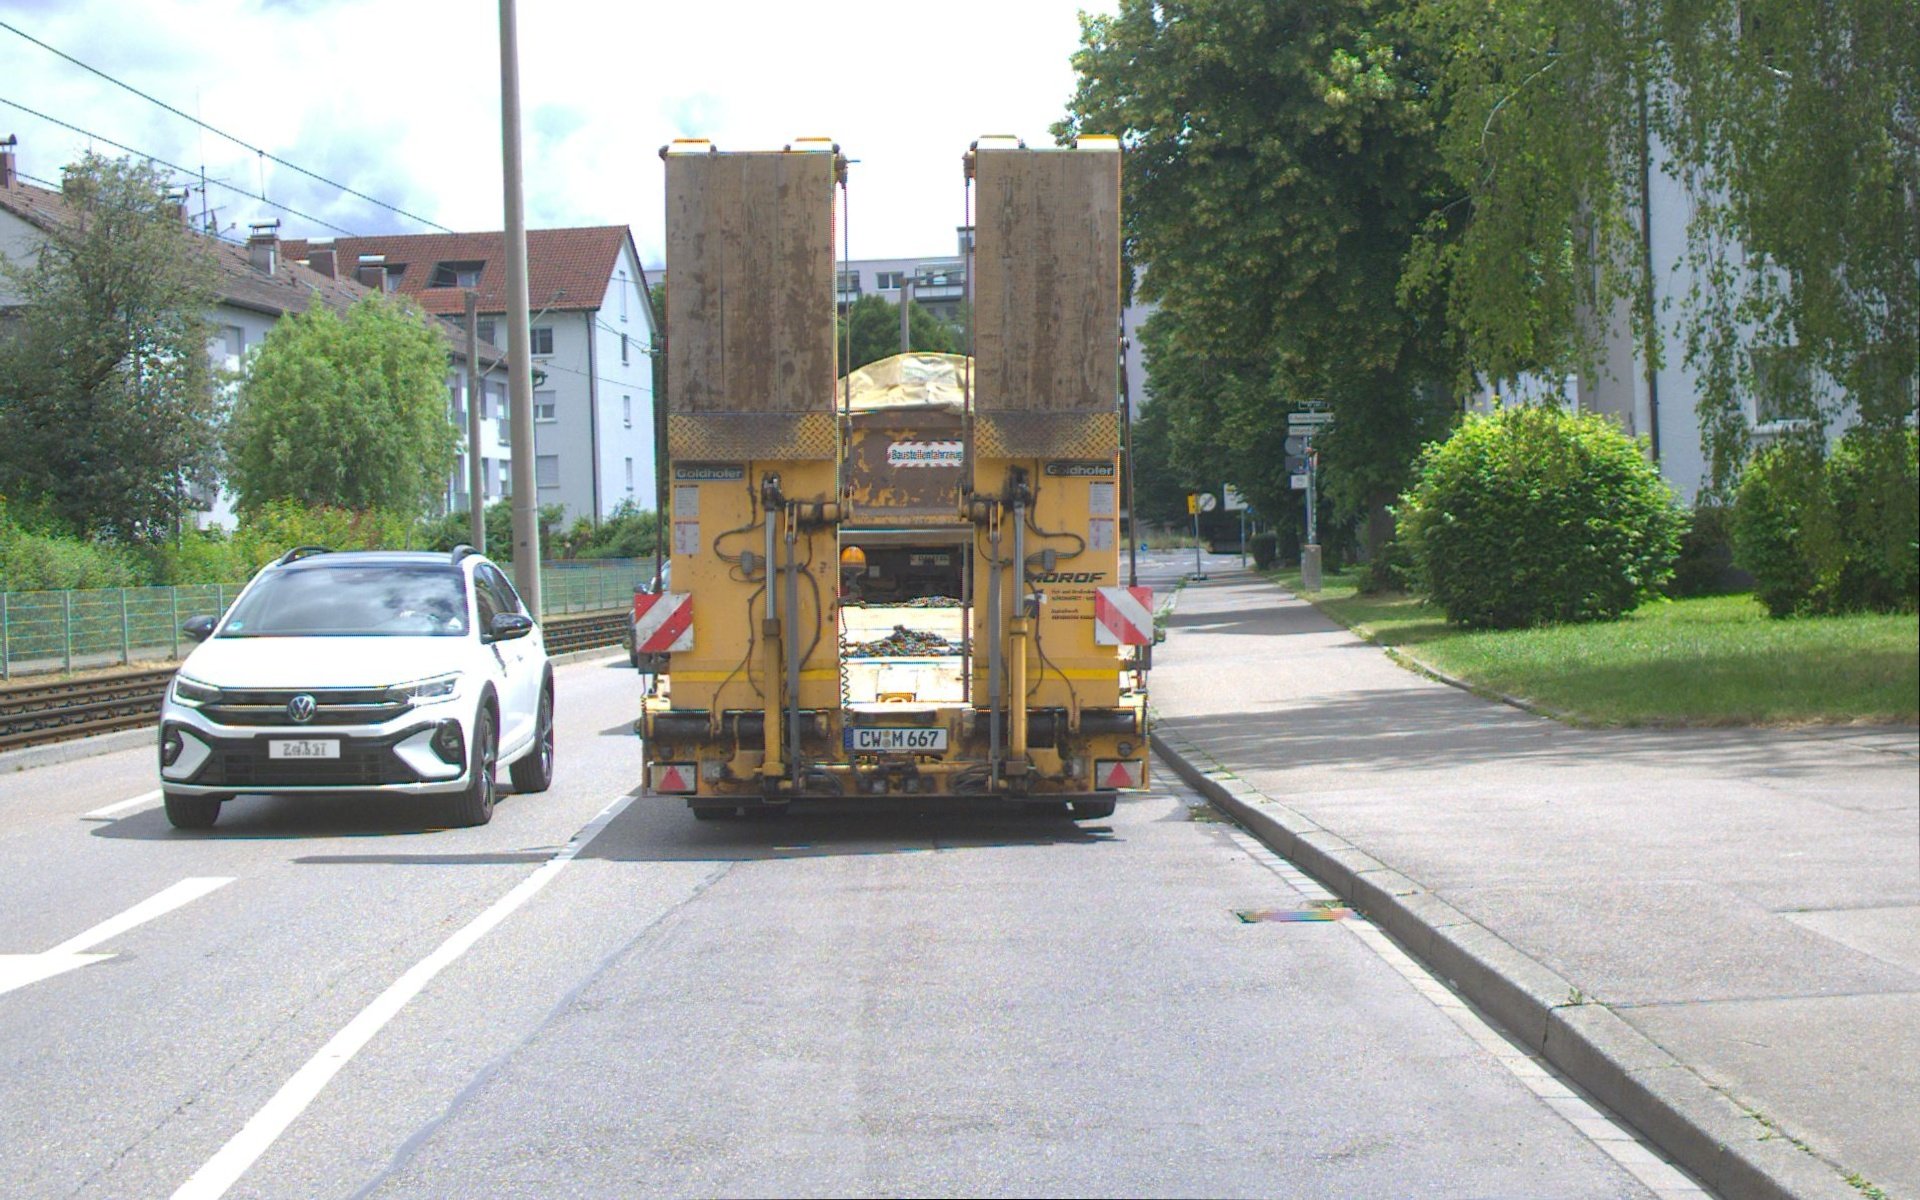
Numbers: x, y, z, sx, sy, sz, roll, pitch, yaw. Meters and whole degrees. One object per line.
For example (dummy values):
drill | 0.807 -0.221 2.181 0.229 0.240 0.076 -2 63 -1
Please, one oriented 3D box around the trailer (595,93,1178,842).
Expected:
trailer | -0.451 -0.737 22.866 2.827 3.633 12.355 0 1 -1

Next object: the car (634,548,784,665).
car | -3.233 0.049 44.916 1.628 1.427 4.167 0 1 0

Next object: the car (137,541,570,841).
car | -3.393 0.445 19.946 1.760 1.546 4.000 -1 1 0
